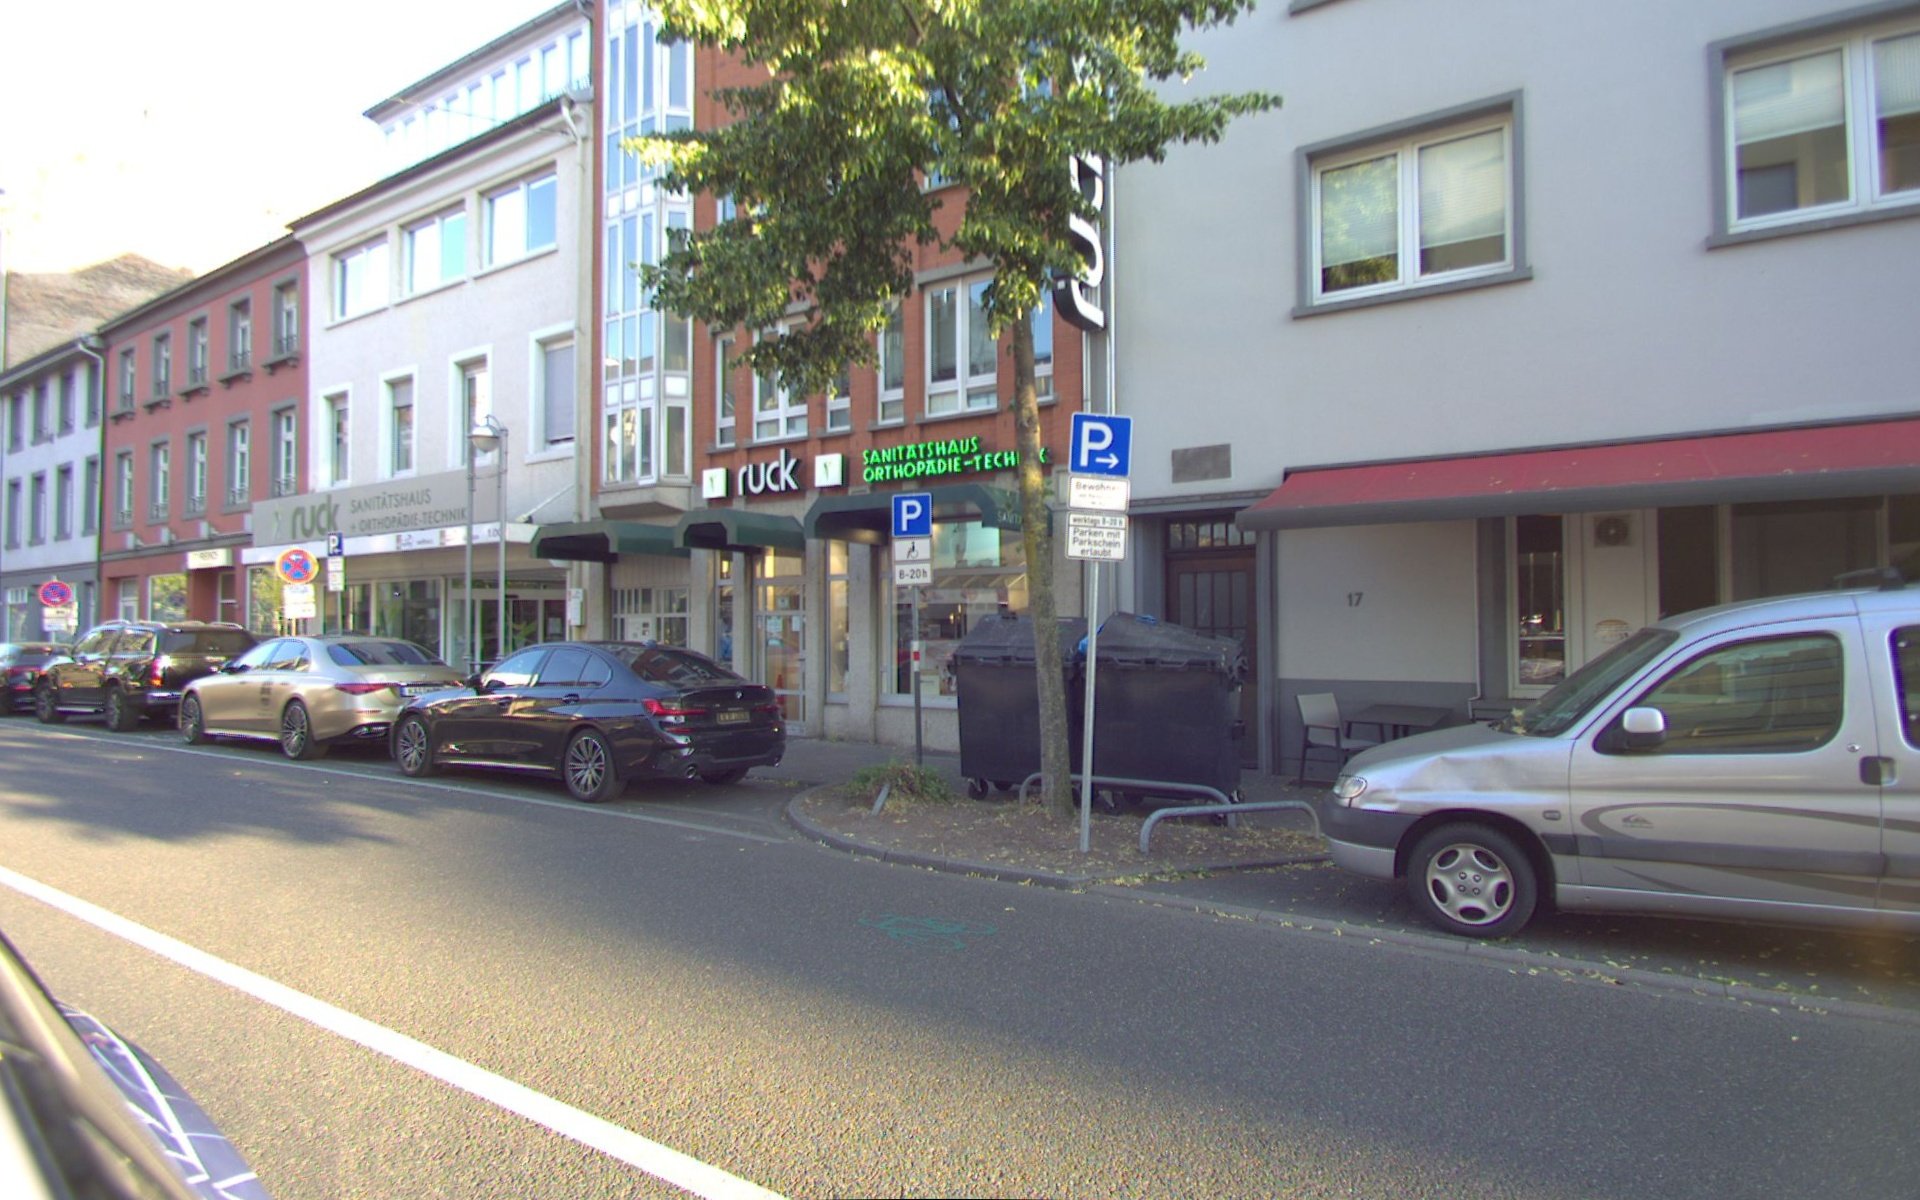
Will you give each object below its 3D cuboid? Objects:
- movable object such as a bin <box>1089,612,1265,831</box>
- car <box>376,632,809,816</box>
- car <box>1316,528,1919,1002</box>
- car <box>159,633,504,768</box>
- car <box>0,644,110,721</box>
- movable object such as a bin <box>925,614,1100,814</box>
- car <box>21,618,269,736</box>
[{"bbox_3d":[1.778,0.933,8.284,1.203,1.632,0.775,-1,0,30],"label":"movable object such as a bin"},{"bbox_3d":[-3.799,1.113,10.184,4.528,1.484,1.706,-2,-5,33],"label":"car"},{"bbox_3d":[4.007,0.711,4.964,4.038,1.902,1.657,-1,-4,31],"label":"car"},{"bbox_3d":[-8.440,1.238,13.437,5.094,1.484,1.977,-2,-4,34],"label":"car"},{"bbox_3d":[-19.227,1.644,20.655,4.001,1.448,1.688,-2,-5,32],"label":"car"},{"bbox_3d":[0.464,0.957,9.012,1.331,1.632,0.775,-1,-1,30],"label":"movable object such as a bin"},{"bbox_3d":[-14.039,1.274,17.354,4.921,1.793,1.708,-2,-4,31],"label":"car"}]
